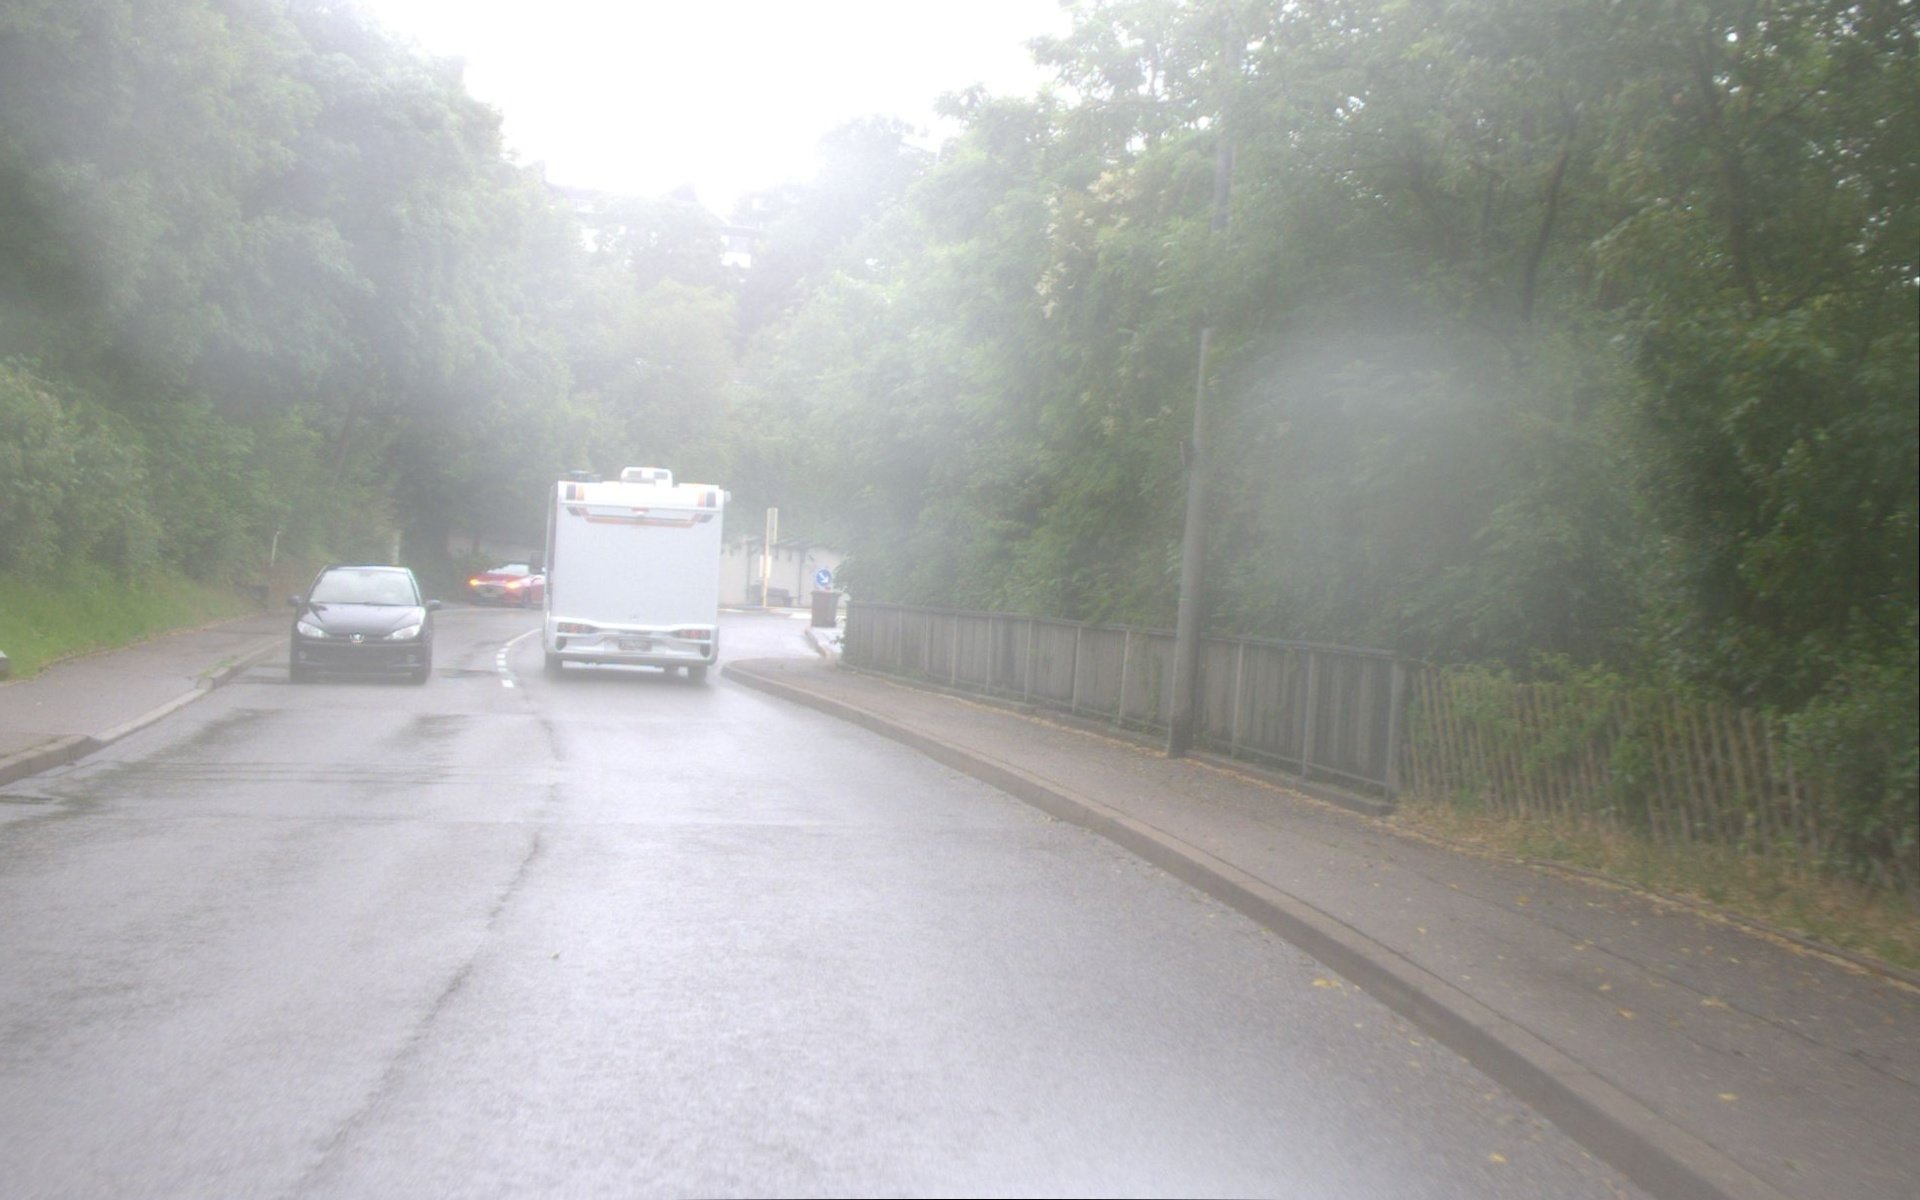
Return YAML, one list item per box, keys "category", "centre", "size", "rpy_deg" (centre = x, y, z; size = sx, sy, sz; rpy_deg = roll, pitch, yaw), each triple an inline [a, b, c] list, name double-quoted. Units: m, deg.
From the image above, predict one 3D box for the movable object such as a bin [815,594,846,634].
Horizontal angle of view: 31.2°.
- category: "movable object such as a bin"
  centre: [-3.823, 0.416, 101.567]
  size: [0.777, 1.129, 0.738]
  rpy_deg: [3, 0, 2]

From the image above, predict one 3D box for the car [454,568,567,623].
- category: "car"
  centre: [-14.052, -0.127, 107.687]
  size: [1.995, 1.556, 4.650]
  rpy_deg: [4, 0, 12]

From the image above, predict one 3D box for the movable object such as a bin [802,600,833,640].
- category: "movable object such as a bin"
  centre: [-4.136, 0.585, 100.037]
  size: [0.777, 1.129, 0.738]
  rpy_deg: [3, 0, 2]

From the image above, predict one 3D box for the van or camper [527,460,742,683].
- category: "van or camper"
  centre: [-4.655, -0.350, 48.249]
  size: [2.539, 2.915, 5.949]
  rpy_deg: [-1, 0, -10]

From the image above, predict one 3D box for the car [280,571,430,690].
- category: "car"
  centre: [-7.450, 0.349, 42.590]
  size: [1.650, 1.380, 3.530]
  rpy_deg: [1, 0, -7]
